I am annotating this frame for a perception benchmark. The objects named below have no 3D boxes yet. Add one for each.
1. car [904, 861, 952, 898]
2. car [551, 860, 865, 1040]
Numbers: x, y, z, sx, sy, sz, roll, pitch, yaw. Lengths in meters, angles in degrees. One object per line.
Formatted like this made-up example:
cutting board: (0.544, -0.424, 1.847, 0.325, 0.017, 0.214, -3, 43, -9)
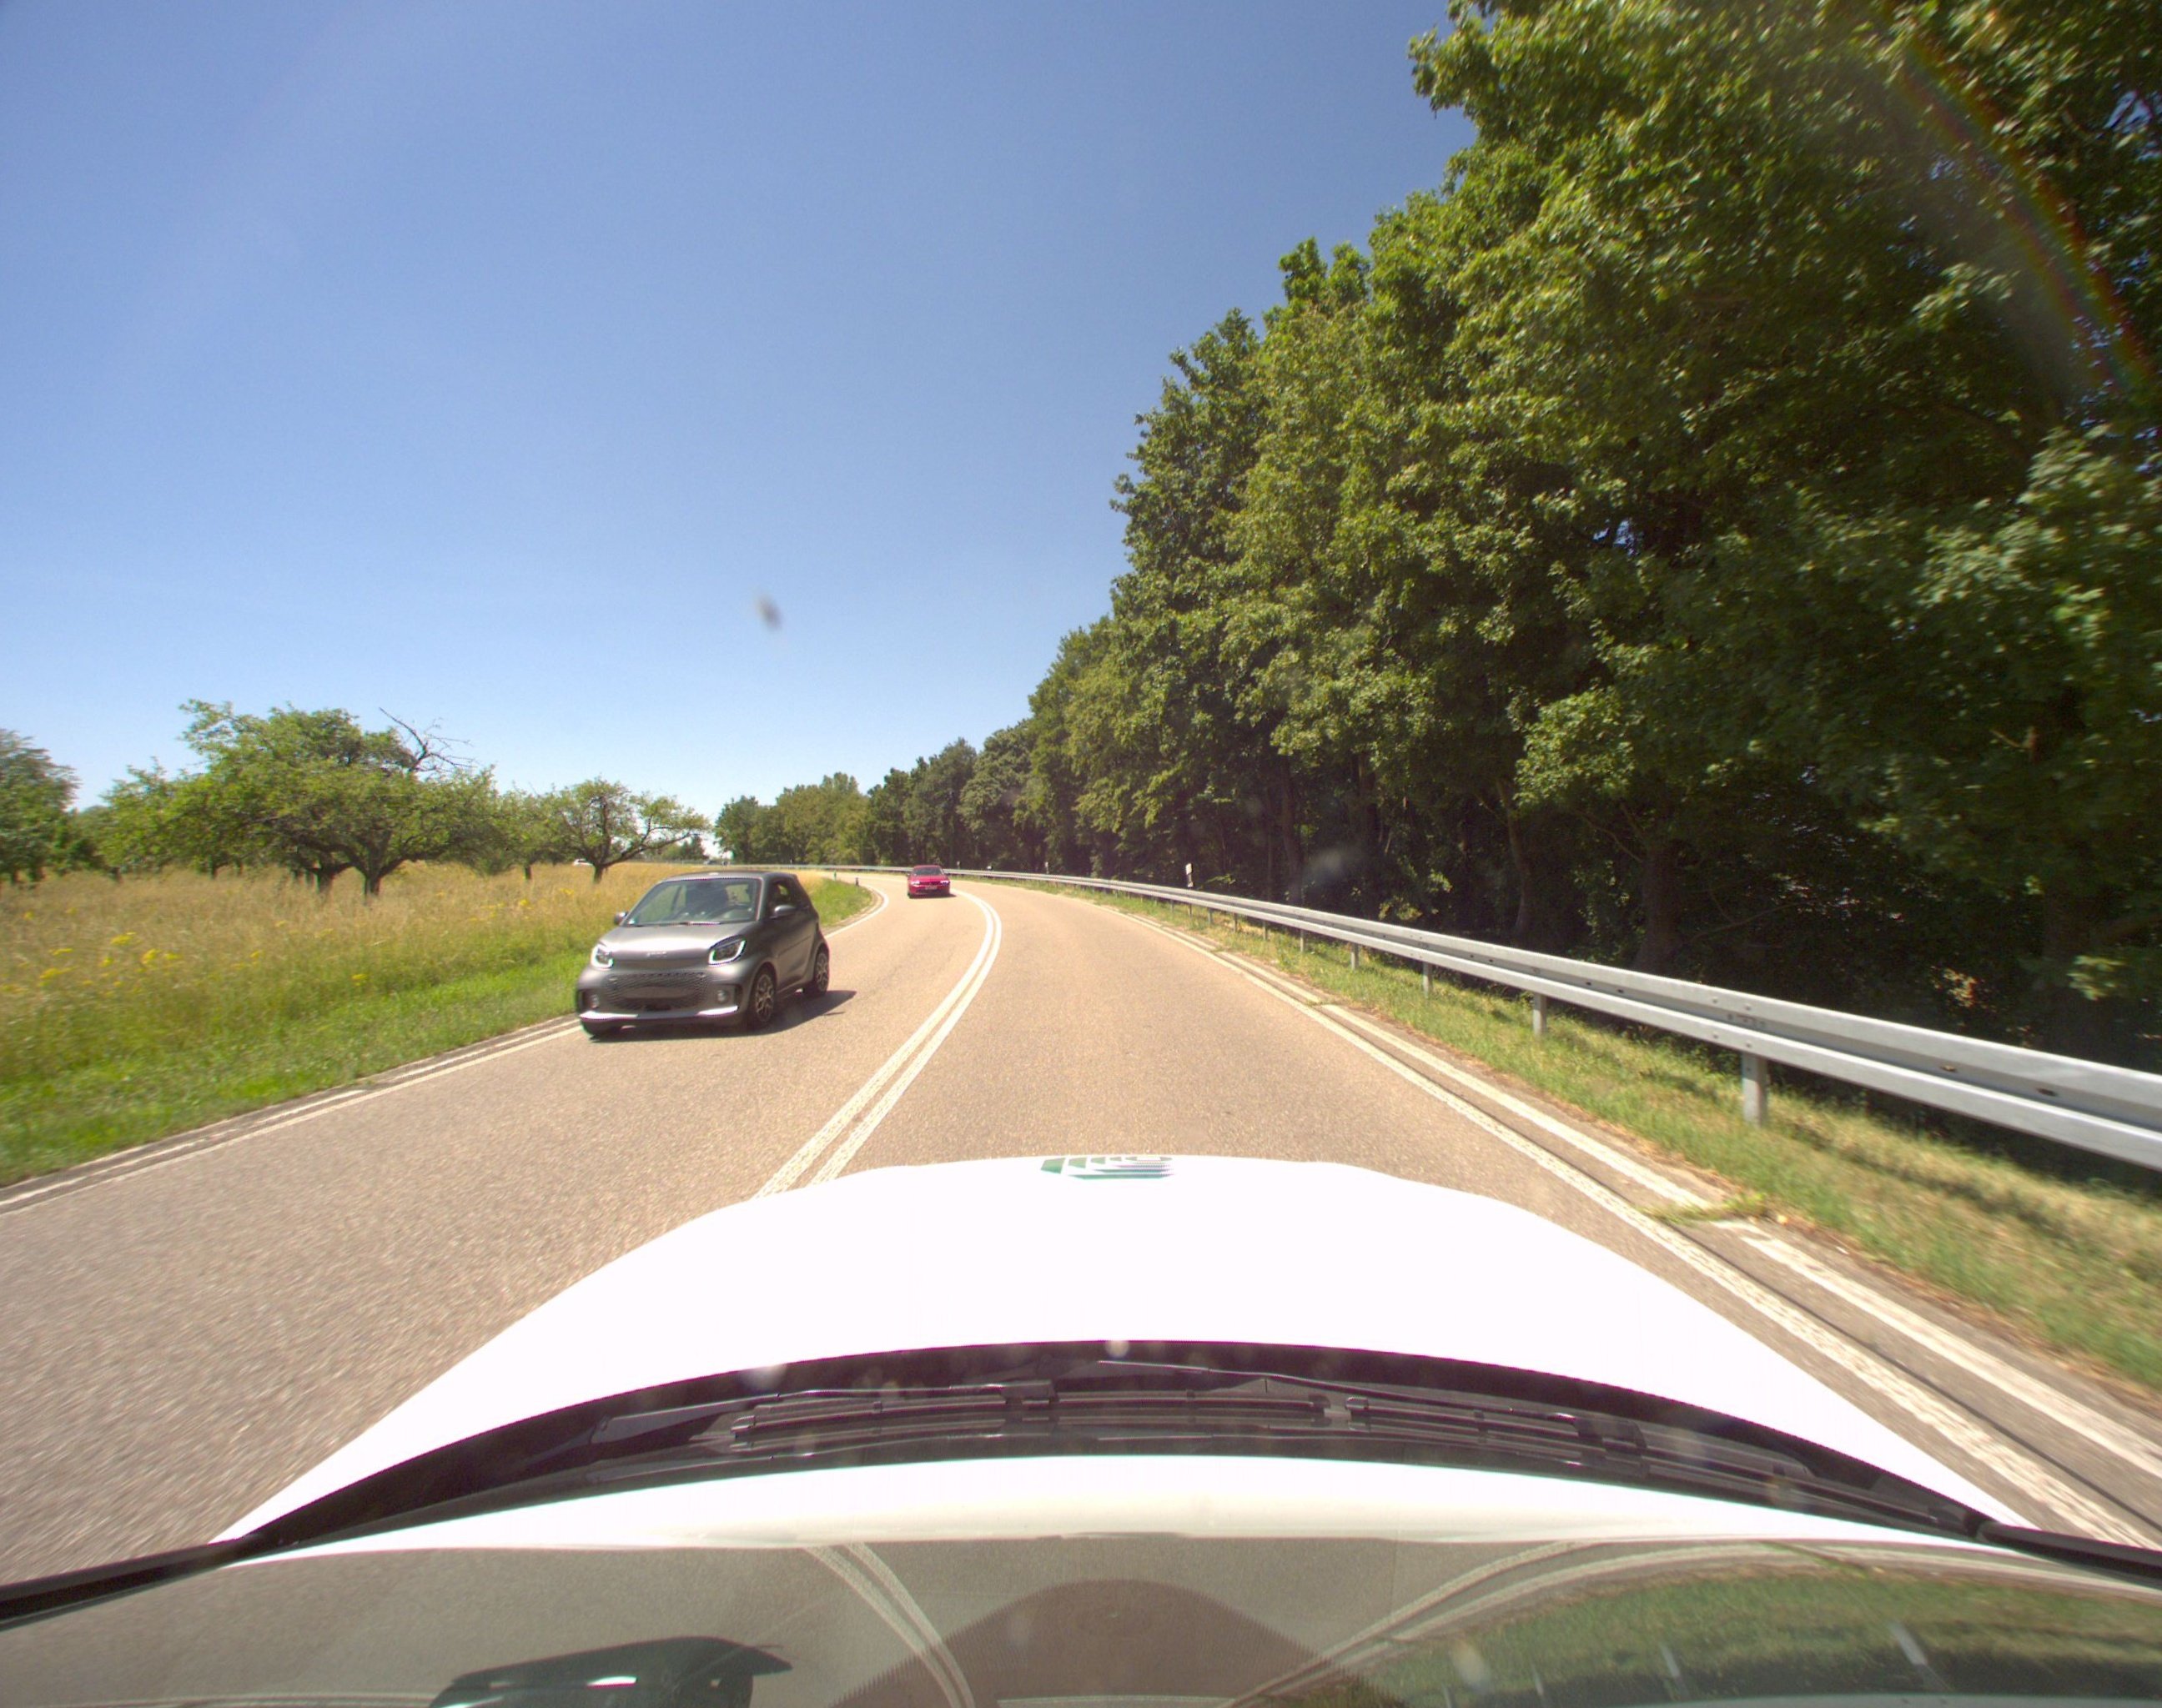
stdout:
car: (-6.934, 1.184, 37.253, 1.821, 1.458, 4.387, -4, -2, -8)
car: (-3.858, 0.870, 9.286, 1.730, 1.507, 4.069, -3, -1, -2)
